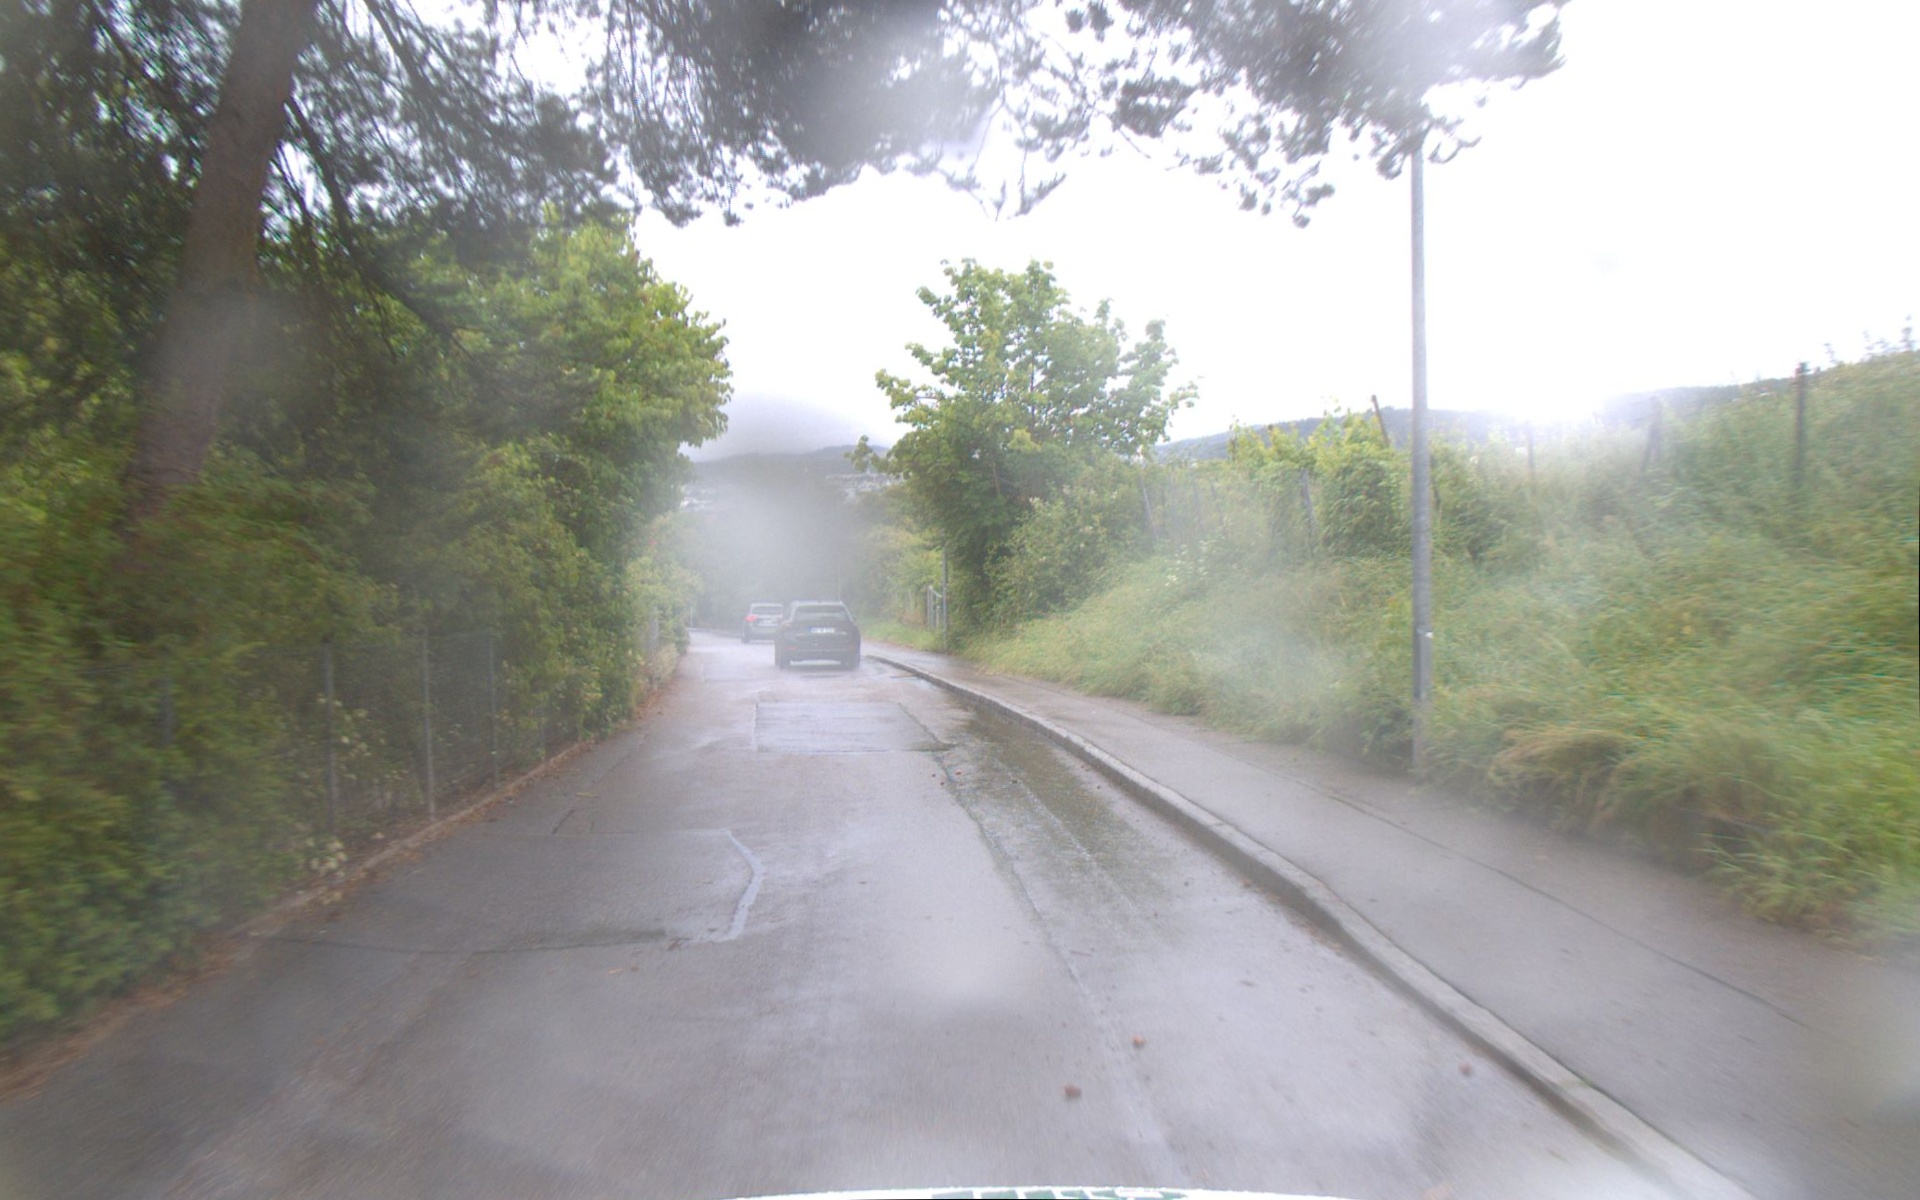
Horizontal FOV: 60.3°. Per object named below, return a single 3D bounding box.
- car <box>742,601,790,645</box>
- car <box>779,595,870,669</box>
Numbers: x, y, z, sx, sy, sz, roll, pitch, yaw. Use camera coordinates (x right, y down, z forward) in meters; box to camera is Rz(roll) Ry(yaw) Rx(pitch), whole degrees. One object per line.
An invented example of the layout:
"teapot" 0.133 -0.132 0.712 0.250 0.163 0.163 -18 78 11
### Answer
"car" -7.505 0.865 63.816 1.647 1.592 3.786 0 1 -9
"car" -3.041 0.672 36.498 1.800 1.489 3.993 -2 0 -7
